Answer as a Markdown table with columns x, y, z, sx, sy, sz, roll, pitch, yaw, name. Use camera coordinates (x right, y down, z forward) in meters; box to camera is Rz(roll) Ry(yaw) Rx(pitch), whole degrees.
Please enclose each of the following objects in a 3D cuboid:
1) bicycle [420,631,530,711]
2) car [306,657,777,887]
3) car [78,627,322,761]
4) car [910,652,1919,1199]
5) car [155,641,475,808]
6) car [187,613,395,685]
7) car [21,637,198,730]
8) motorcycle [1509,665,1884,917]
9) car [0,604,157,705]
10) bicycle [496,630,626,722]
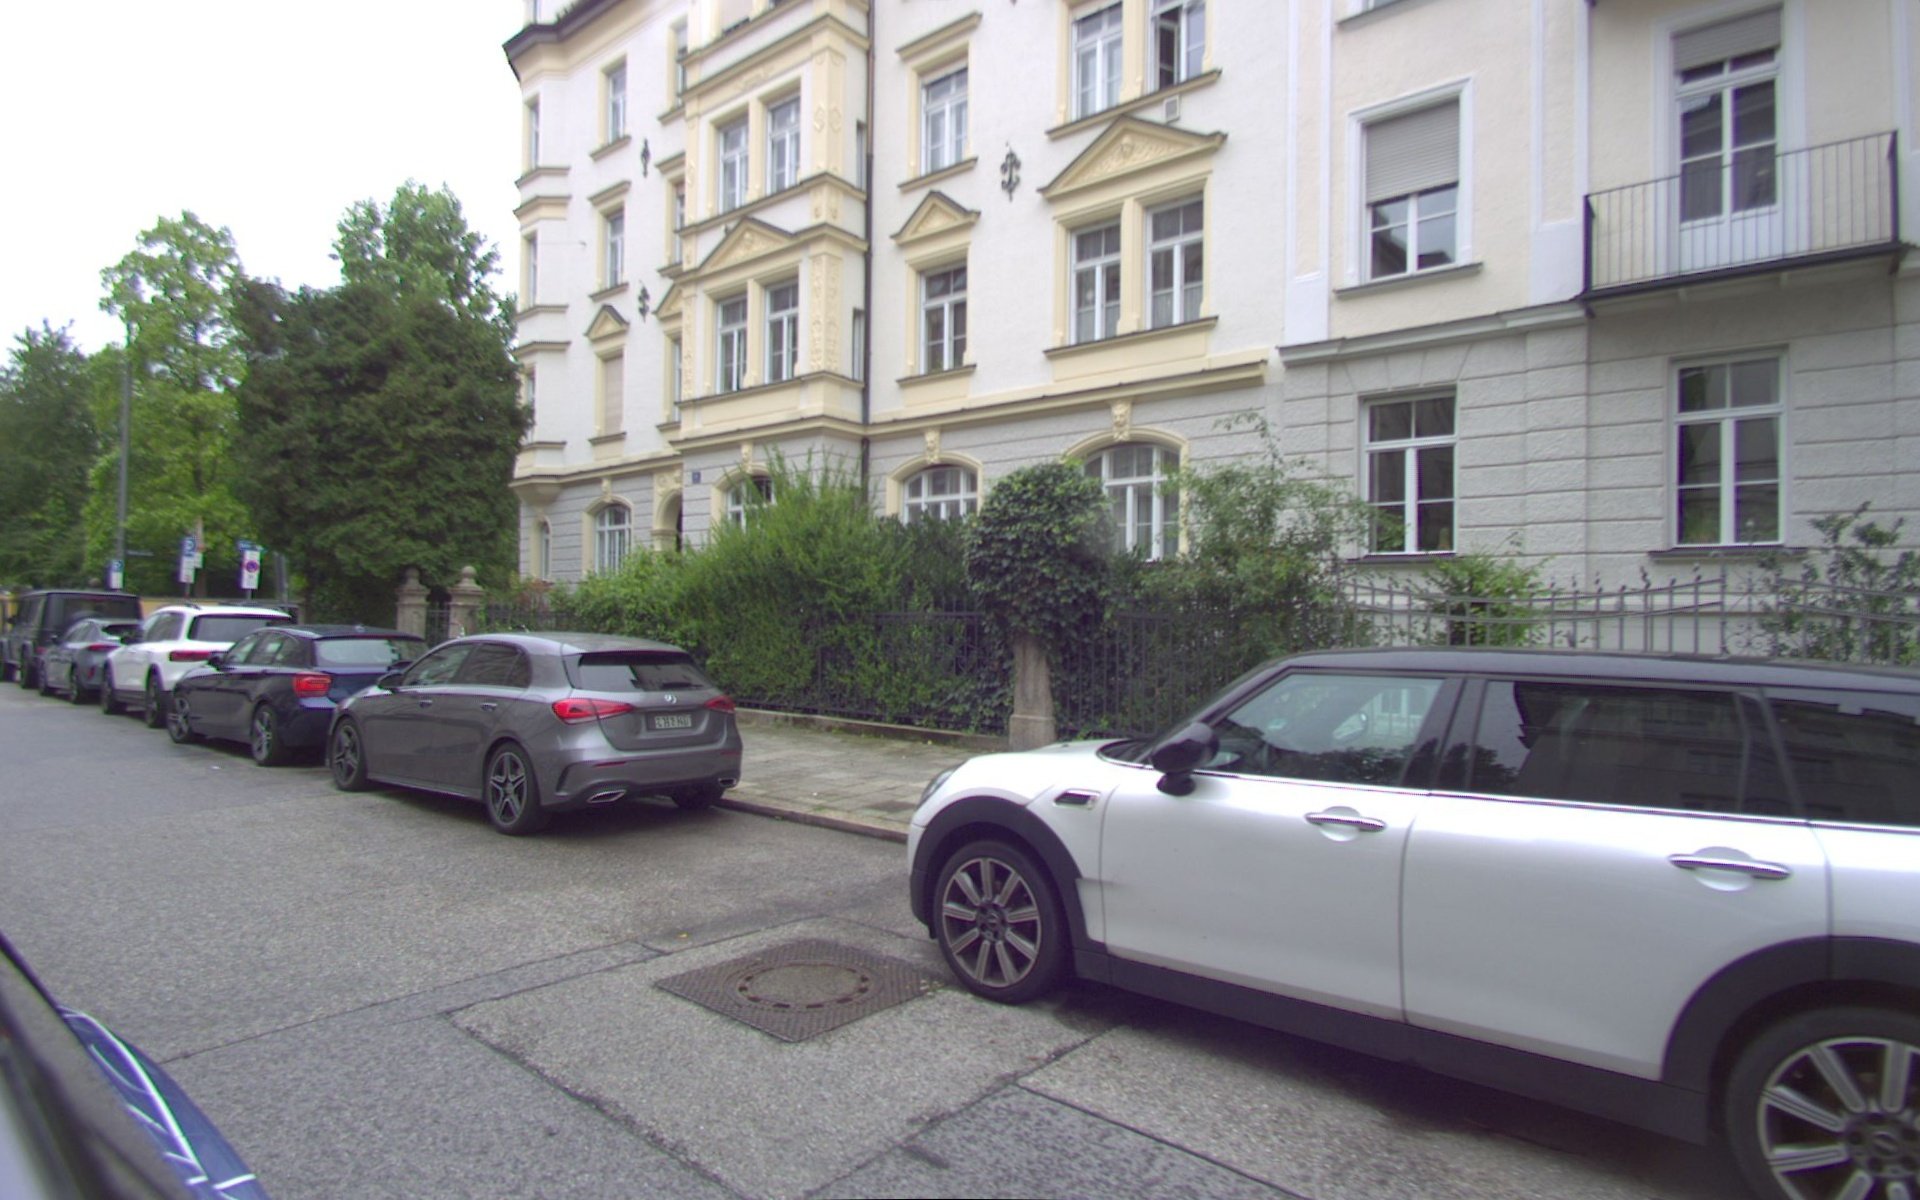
| x | y | z | sx | sy | sz | roll | pitch | yaw | name |
| --- | --- | --- | --- | --- | --- | --- | --- | --- | --- |
| -8.300 | 1.180 | 17.256 | 2.529 | 1.270 | 0.689 | -1 | -4 | 41 | bicycle |
| -3.611 | 1.217 | 8.421 | 4.186 | 1.375 | 1.718 | -1 | -4 | 37 | car |
| -11.184 | 1.261 | 14.784 | 4.481 | 1.661 | 1.788 | -1 | -4 | 39 | car |
| 1.923 | 0.977 | 3.591 | 4.076 | 1.446 | 1.779 | 0 | -2 | 40 | car |
| -7.317 | 1.239 | 11.352 | 3.994 | 1.431 | 1.752 | 0 | -2 | 38 | car |
| -18.944 | 1.374 | 28.870 | 2.049 | 1.872 | 4.470 | -1 | -2 | 33 | car |
| -15.304 | 1.445 | 18.147 | 3.915 | 1.441 | 1.626 | -1 | -5 | 39 | car |
| 4.523 | 1.090 | 6.339 | 1.819 | 1.259 | 0.697 | 0 | 0 | 39 | motorcycle |
| -18.742 | 1.073 | 21.300 | 4.813 | 1.901 | 1.893 | 0 | -3 | 40 | car |
| -6.202 | 1.136 | 15.646 | 2.529 | 1.307 | 0.747 | -1 | -4 | 41 | bicycle |
